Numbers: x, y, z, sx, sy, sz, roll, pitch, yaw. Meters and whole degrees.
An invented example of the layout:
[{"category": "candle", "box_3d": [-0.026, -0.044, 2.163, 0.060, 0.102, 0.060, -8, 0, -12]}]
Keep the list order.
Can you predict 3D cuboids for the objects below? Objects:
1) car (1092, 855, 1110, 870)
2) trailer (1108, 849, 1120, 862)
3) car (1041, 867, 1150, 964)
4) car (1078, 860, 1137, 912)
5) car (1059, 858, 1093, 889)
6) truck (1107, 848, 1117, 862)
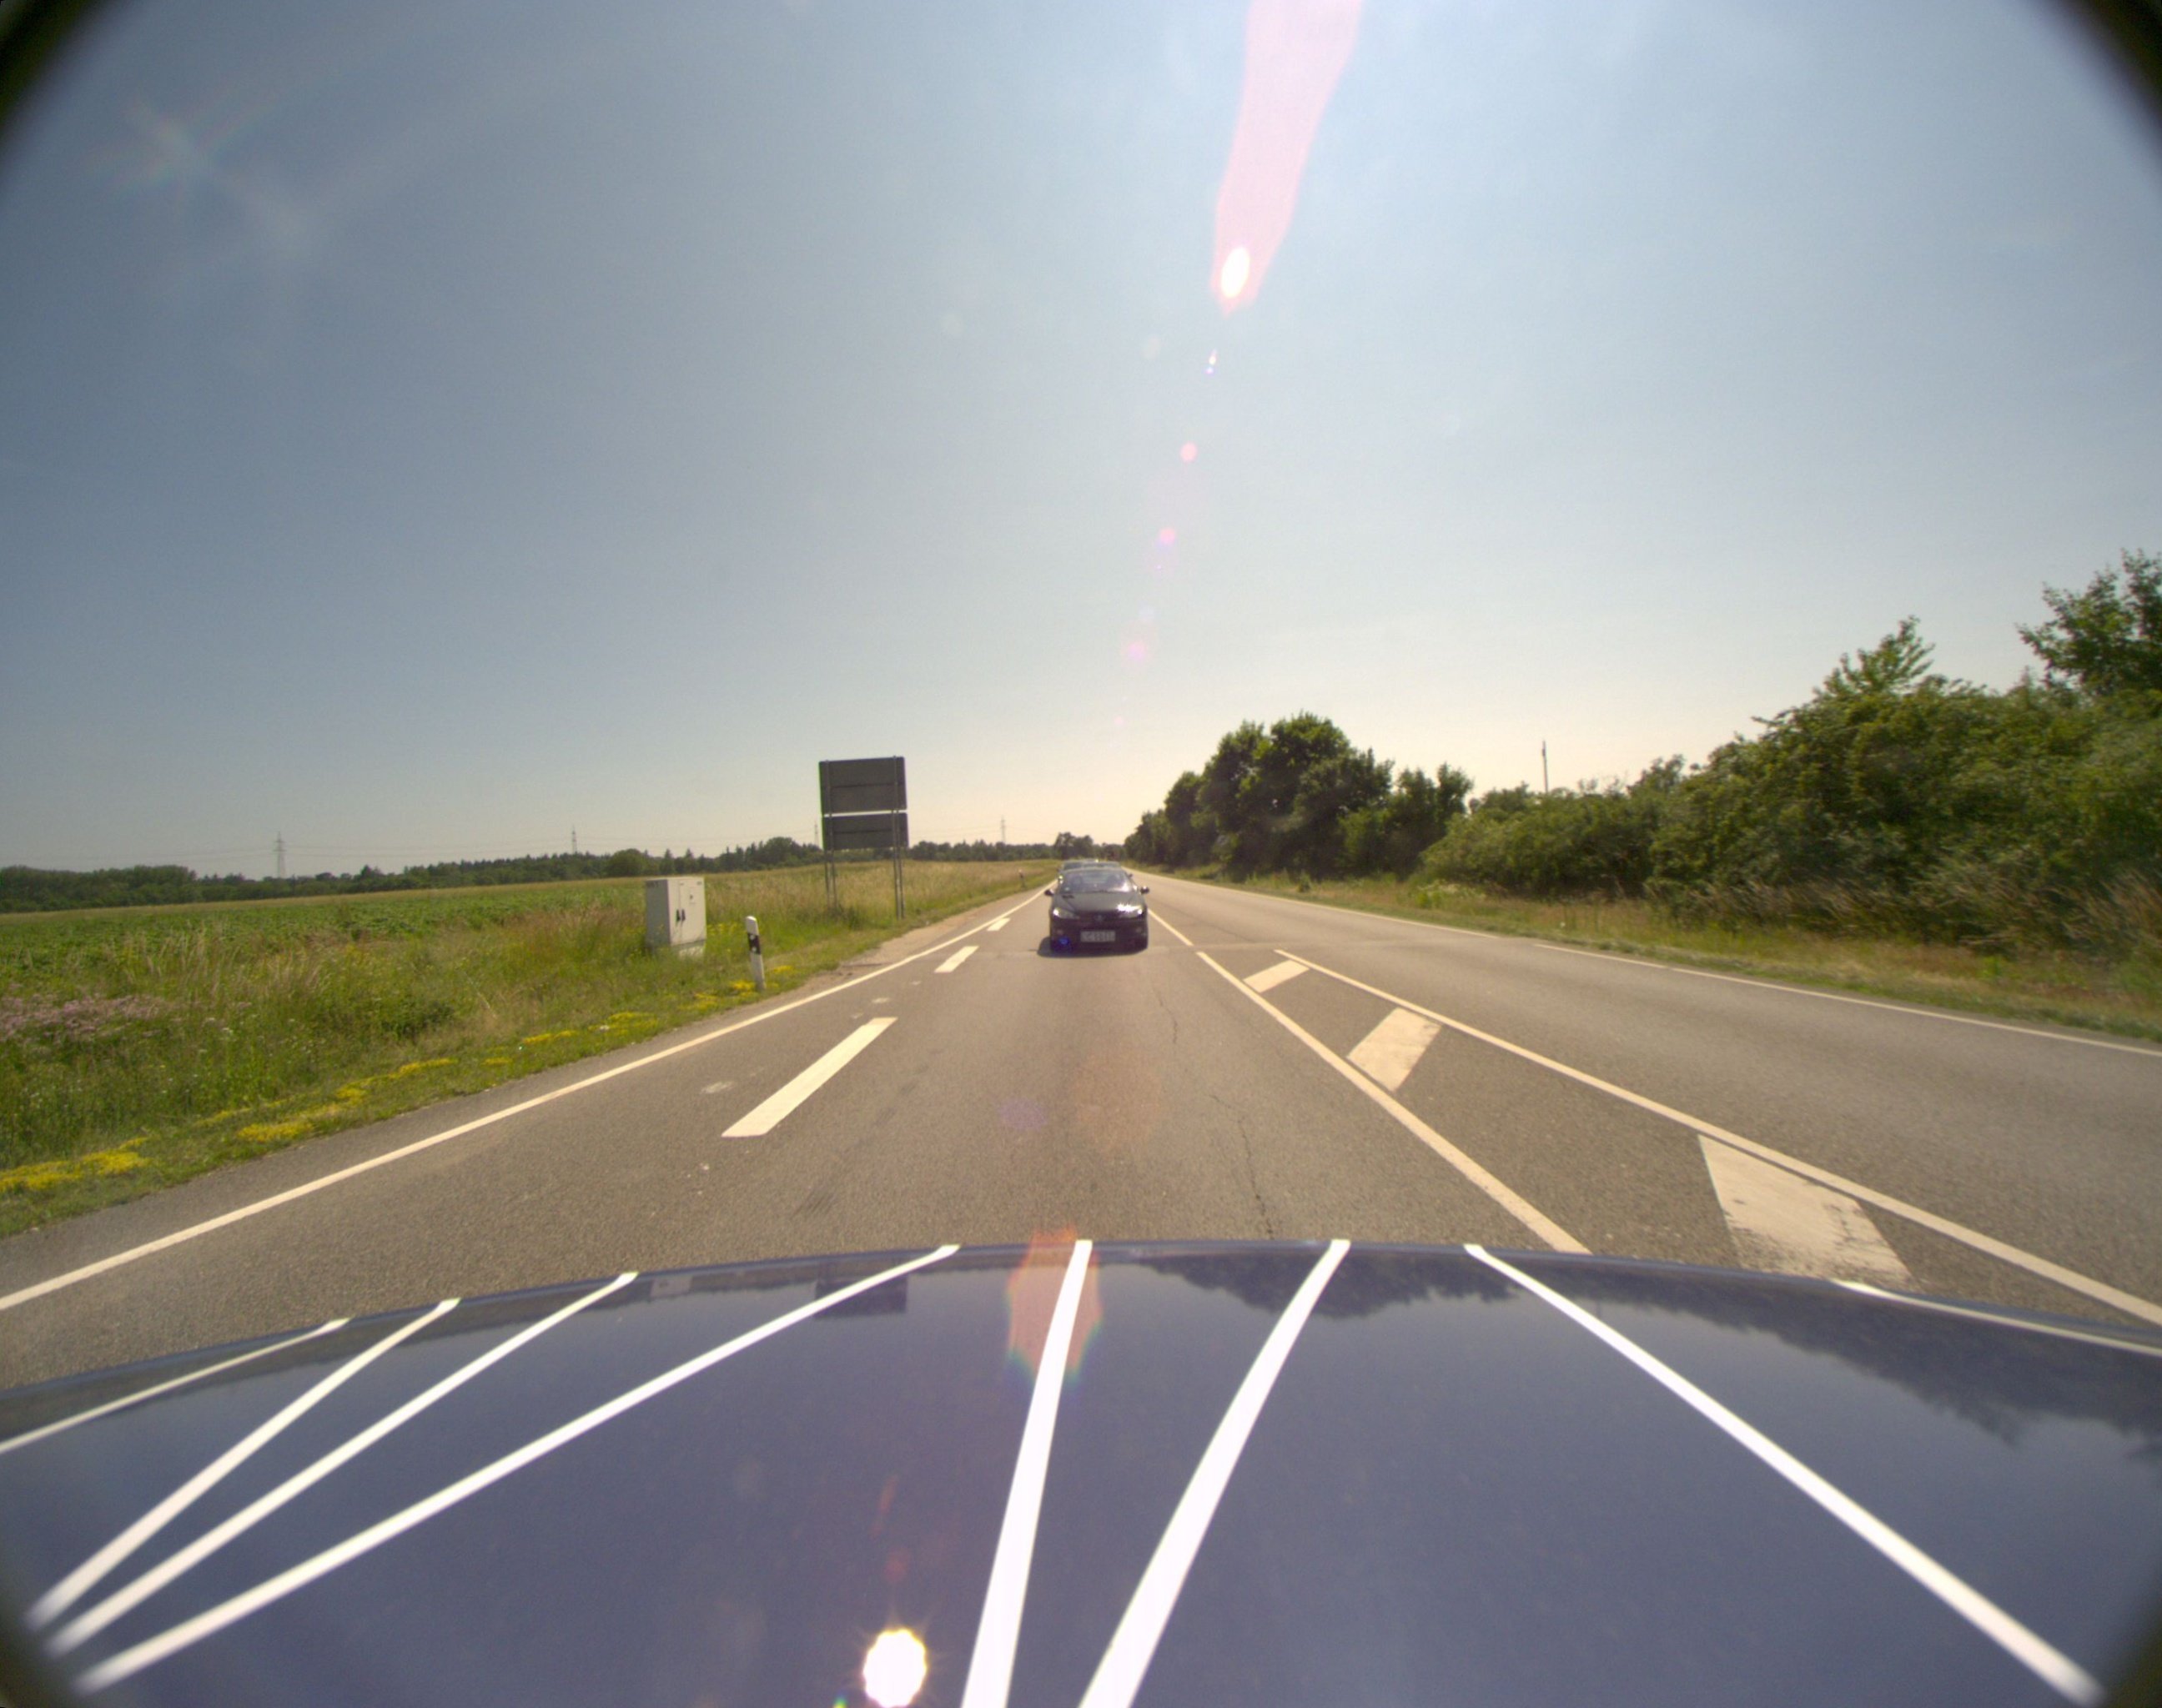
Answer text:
[{"category": "car", "box_3d": [1.885, 0.821, 72.983, 1.588, 1.294, 3.631, -2, 0, 1]}, {"category": "trailer", "box_3d": [9.432, 0.455, 220.049, 2.669, 3.440, 14.948, -1, 0, -1]}, {"category": "car", "box_3d": [0.254, 0.998, 13.821, 1.665, 1.389, 3.731, -2, 0, 1]}, {"category": "car", "box_3d": [0.782, 0.975, 24.592, 1.665, 1.477, 3.731, -2, 0, -1]}, {"category": "car", "box_3d": [-0.269, 1.000, 40.016, 1.665, 1.449, 4.173, -2, 0, 0]}, {"category": "truck", "box_3d": [9.311, 0.285, 227.313, 2.709, 3.908, 5.952, -1, 0, -1]}]
